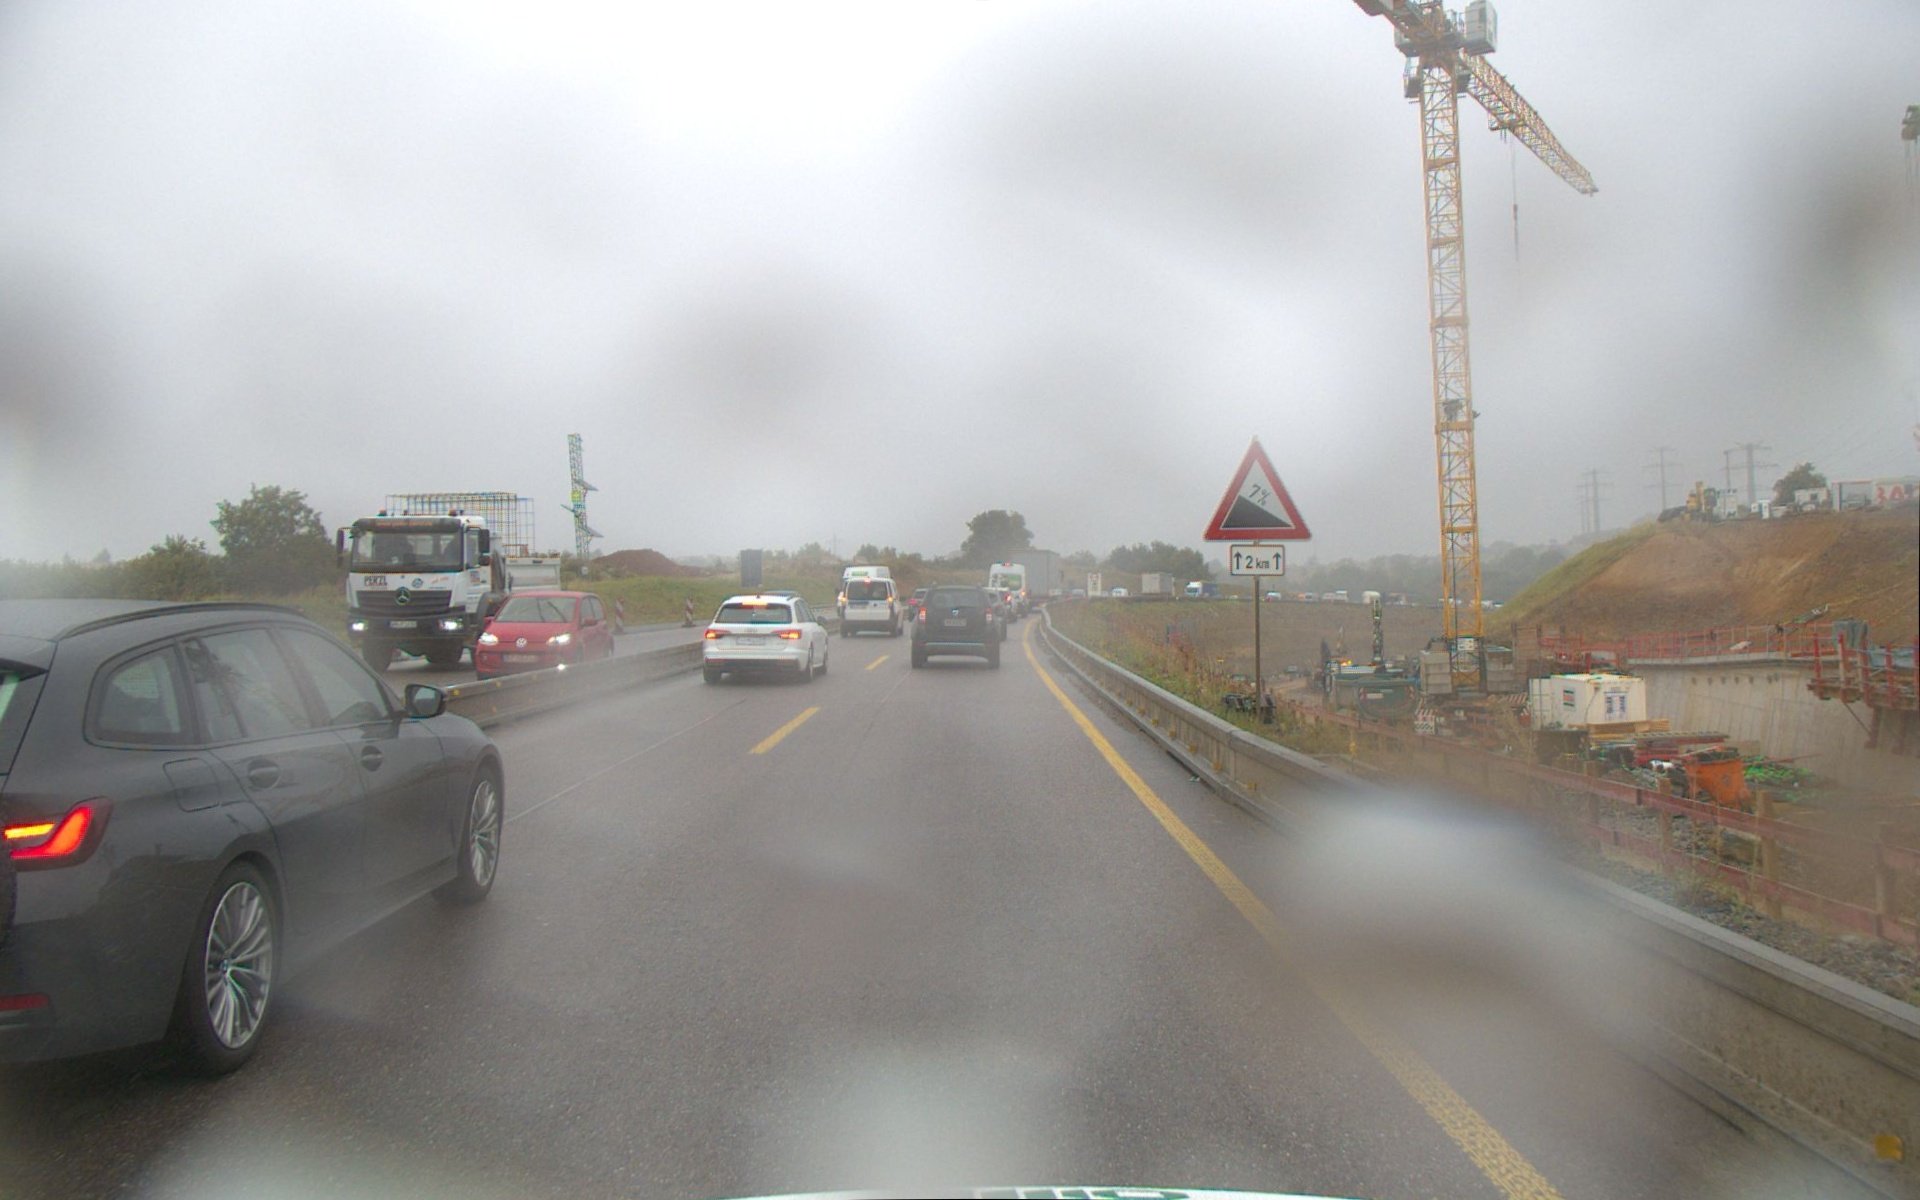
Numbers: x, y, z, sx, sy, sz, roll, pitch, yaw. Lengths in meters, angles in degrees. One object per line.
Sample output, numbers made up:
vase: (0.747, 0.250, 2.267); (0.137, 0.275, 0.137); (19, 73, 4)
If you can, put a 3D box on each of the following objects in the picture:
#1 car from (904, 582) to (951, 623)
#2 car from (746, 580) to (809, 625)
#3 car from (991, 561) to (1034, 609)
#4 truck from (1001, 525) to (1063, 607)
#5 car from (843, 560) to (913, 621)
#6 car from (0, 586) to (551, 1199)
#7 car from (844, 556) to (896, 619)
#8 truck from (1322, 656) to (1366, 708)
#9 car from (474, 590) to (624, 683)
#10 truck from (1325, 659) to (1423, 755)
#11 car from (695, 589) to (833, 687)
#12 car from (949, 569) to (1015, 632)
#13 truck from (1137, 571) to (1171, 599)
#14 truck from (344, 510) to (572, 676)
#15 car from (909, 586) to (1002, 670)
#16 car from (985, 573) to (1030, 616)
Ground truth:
car: (-1.522, 0.139, 78.315); (1.788, 1.847, 4.002); (1, 0, 5)
car: (-6.445, 0.086, 58.741); (1.711, 1.521, 4.749); (0, 0, 0)
car: (2.845, -0.755, 88.138); (1.787, 2.480, 4.161); (1, 0, 8)
truck: (4.924, -2.170, 110.862); (3.468, 5.166, 10.448); (1, 0, 6)
car: (-2.590, -0.269, 52.922); (1.788, 1.847, 4.002); (1, 0, 3)
car: (-2.957, 0.767, 6.045); (1.700, 1.488, 5.628); (0, 2, -2)
car: (-4.550, -0.638, 84.763); (1.952, 3.098, 7.173); (1, 0, 2)
truck: (29.385, 6.230, 126.835); (2.671, 3.552, 9.072); (1, 0, 10)
car: (-6.787, 0.567, 27.620); (1.604, 1.421, 3.592); (1, 0, 0)
truck: (17.763, 4.491, 71.509); (2.642, 3.565, 8.953); (1, 0, 5)
car: (-3.266, 0.608, 28.223); (1.788, 1.525, 4.000); (1, 0, 1)
car: (0.728, 0.030, 51.653); (1.788, 1.847, 4.002); (1, 0, 4)
truck: (27.233, -2.090, 231.832); (3.398, 3.780, 8.423); (0, 1, 15)
truck: (-9.847, -0.147, 33.183); (2.309, 2.945, 6.550); (-1, 0, 2)
car: (-0.078, 0.557, 34.267); (1.789, 1.619, 4.000); (1, 0, 0)
car: (2.148, -0.247, 74.043); (1.788, 1.847, 4.002); (1, 0, 5)
